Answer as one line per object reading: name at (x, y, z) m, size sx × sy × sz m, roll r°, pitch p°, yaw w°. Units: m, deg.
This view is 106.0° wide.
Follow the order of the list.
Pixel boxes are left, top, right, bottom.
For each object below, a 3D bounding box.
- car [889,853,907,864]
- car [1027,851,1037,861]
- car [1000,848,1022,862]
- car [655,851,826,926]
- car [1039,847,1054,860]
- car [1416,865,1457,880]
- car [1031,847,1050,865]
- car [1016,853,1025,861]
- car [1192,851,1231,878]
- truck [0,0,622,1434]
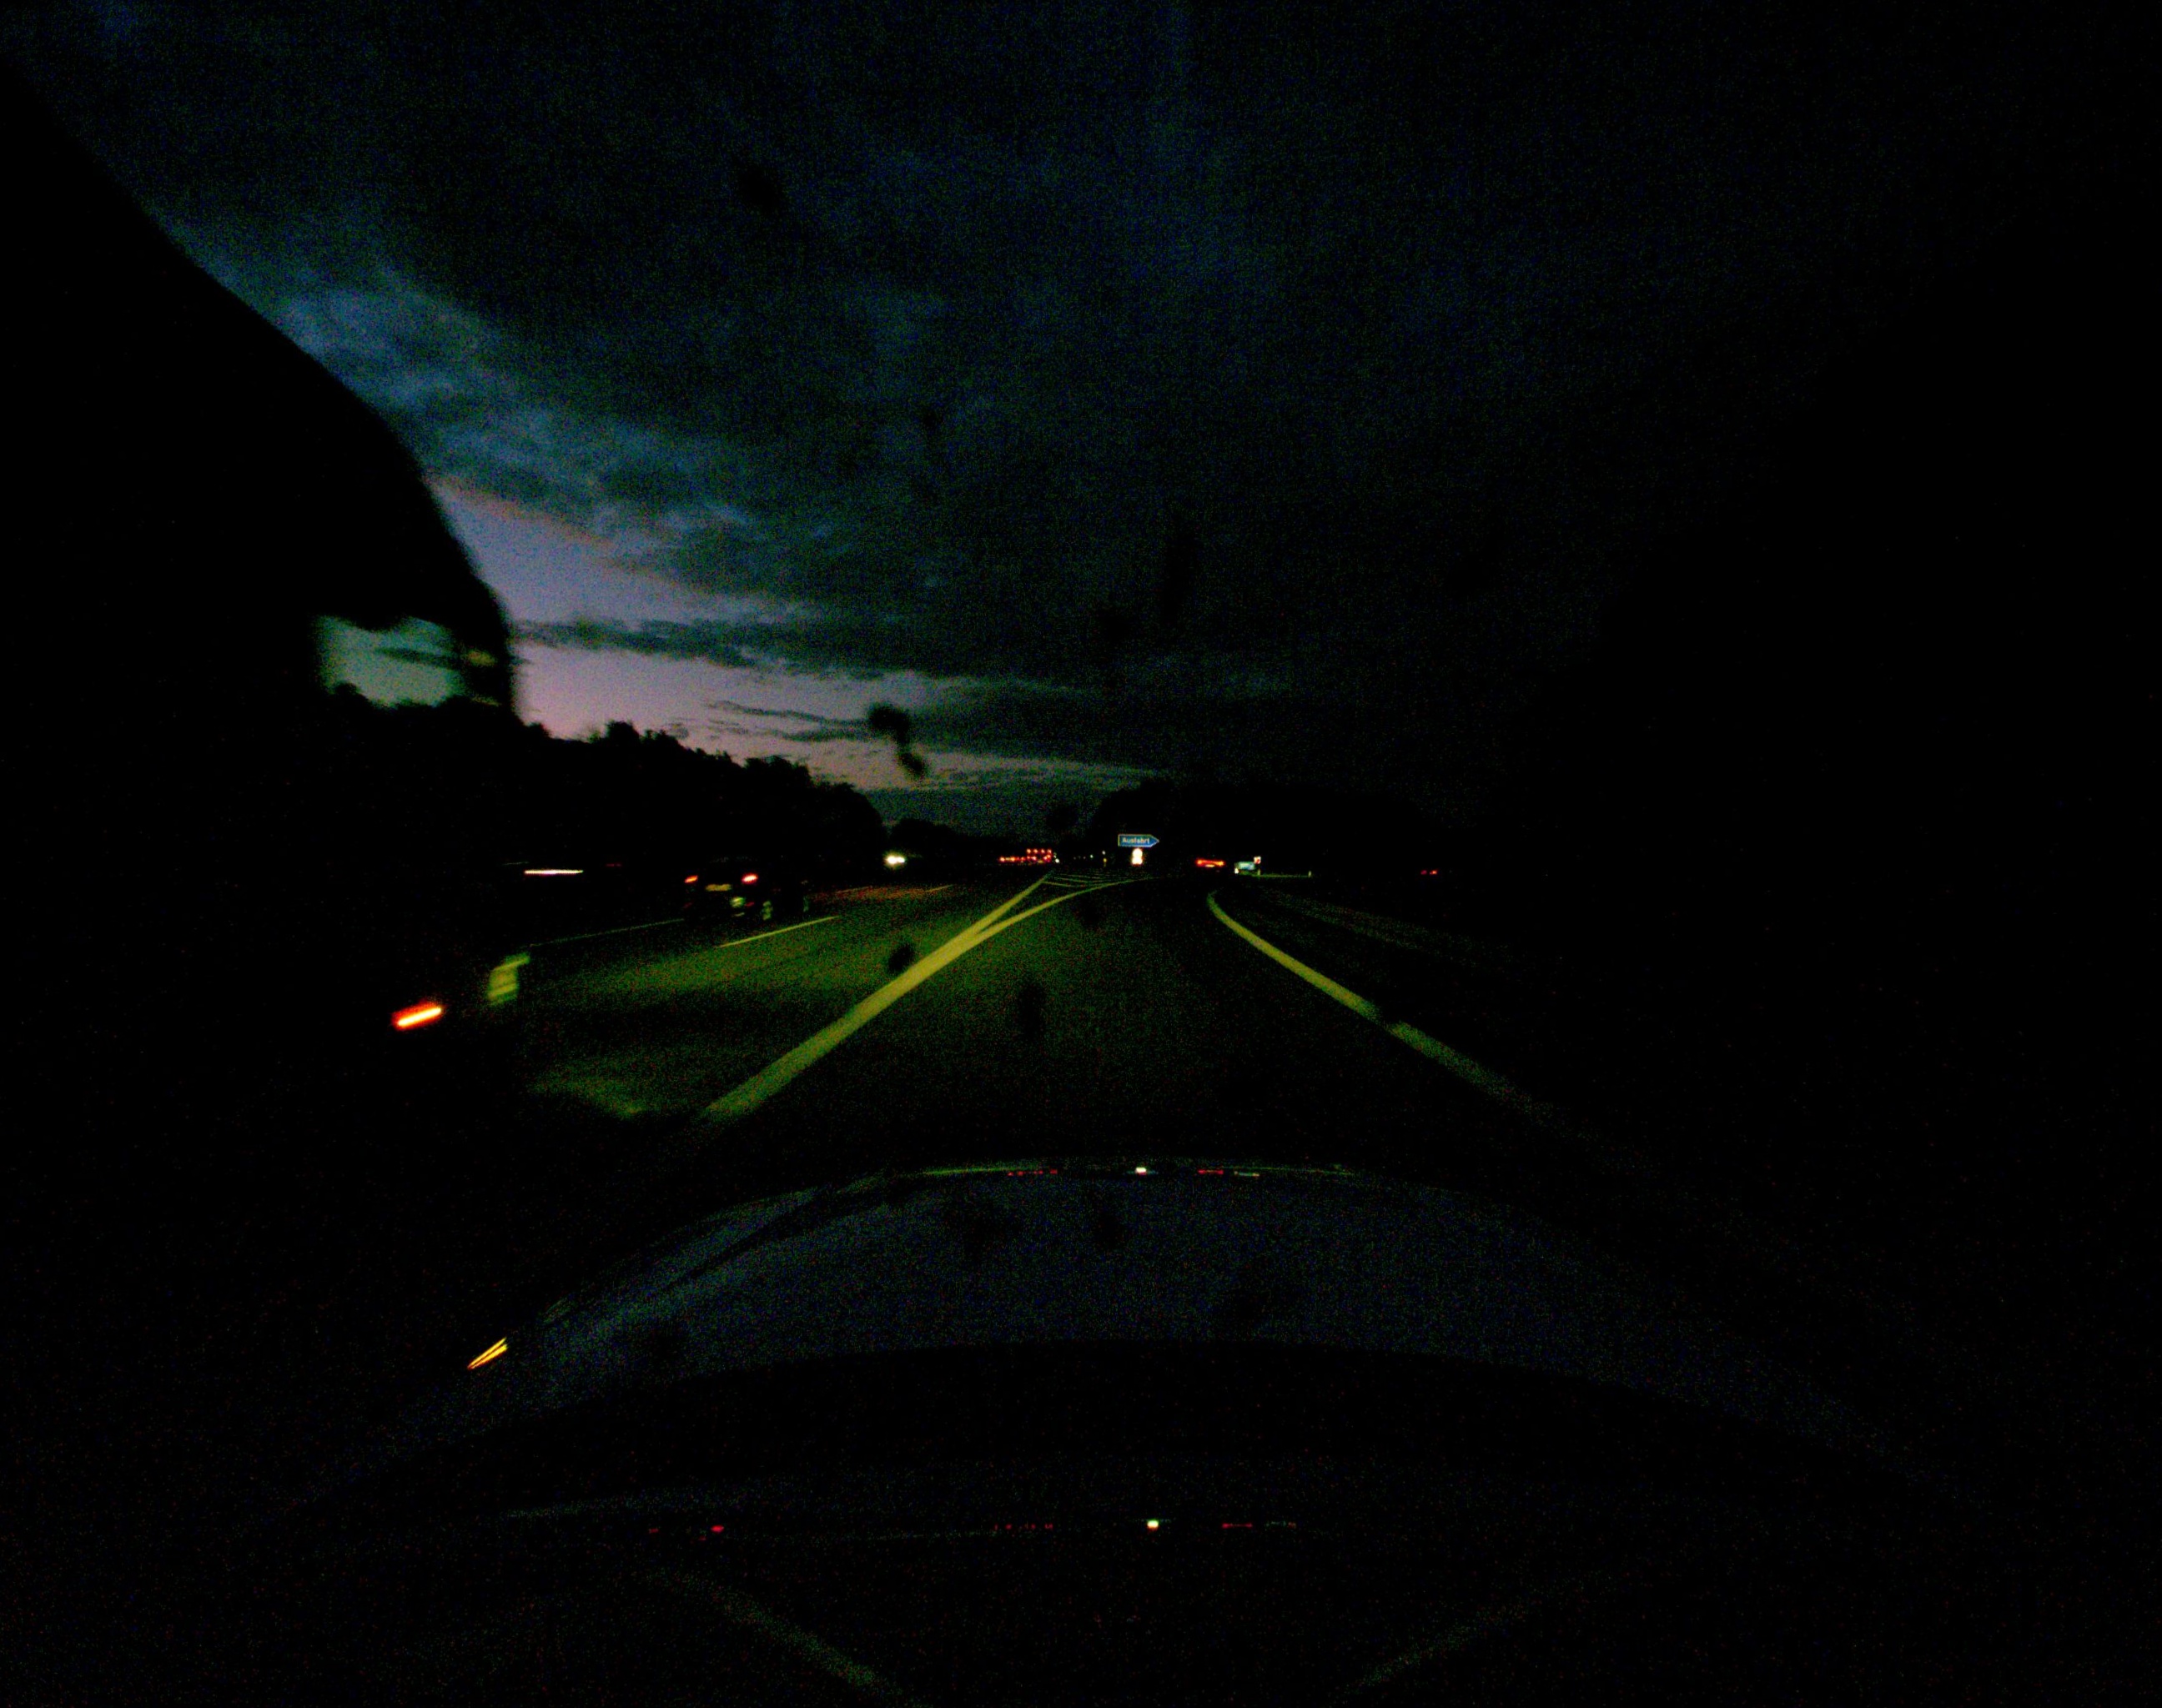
car at (-27.380, 0.698, 121.911) m, size 1.989 × 1.511 × 3.997 m, roll 3°, pitch 0°, yaw -2°
car at (-10.924, 0.460, 181.320) m, size 2.066 × 2.013 × 3.997 m, roll -1°, pitch 0°, yaw -2°
car at (-8.645, 0.083, 100.771) m, size 1.984 × 1.642 × 4.561 m, roll -1°, pitch 0°, yaw 5°
car at (-7.727, 0.694, 19.037) m, size 1.986 × 1.498 × 4.550 m, roll -1°, pitch 0°, yaw 1°
car at (-5.487, -0.067, 130.242) m, size 1.986 × 2.013 × 4.003 m, roll -1°, pitch 0°, yaw 2°
car at (40.175, 2.083, 92.065) m, size 4.004 × 1.598 × 1.985 m, roll 1°, pitch 0°, yaw -23°
car at (-4.737, 0.195, 95.747) m, size 1.986 × 2.013 × 4.002 m, roll -1°, pitch 0°, yaw 2°
car at (-15.919, 0.759, 213.866) m, size 2.101 × 2.013 × 3.994 m, roll -2°, pitch 0°, yaw -4°
car at (8.630, 0.651, 54.212) m, size 1.986 × 1.659 × 4.316 m, roll -1°, pitch 0°, yaw 2°
truck at (-4.233, -0.413, 1.904) m, size 2.770 × 3.901 × 6.153 m, roll -1°, pitch 0°, yaw 0°
